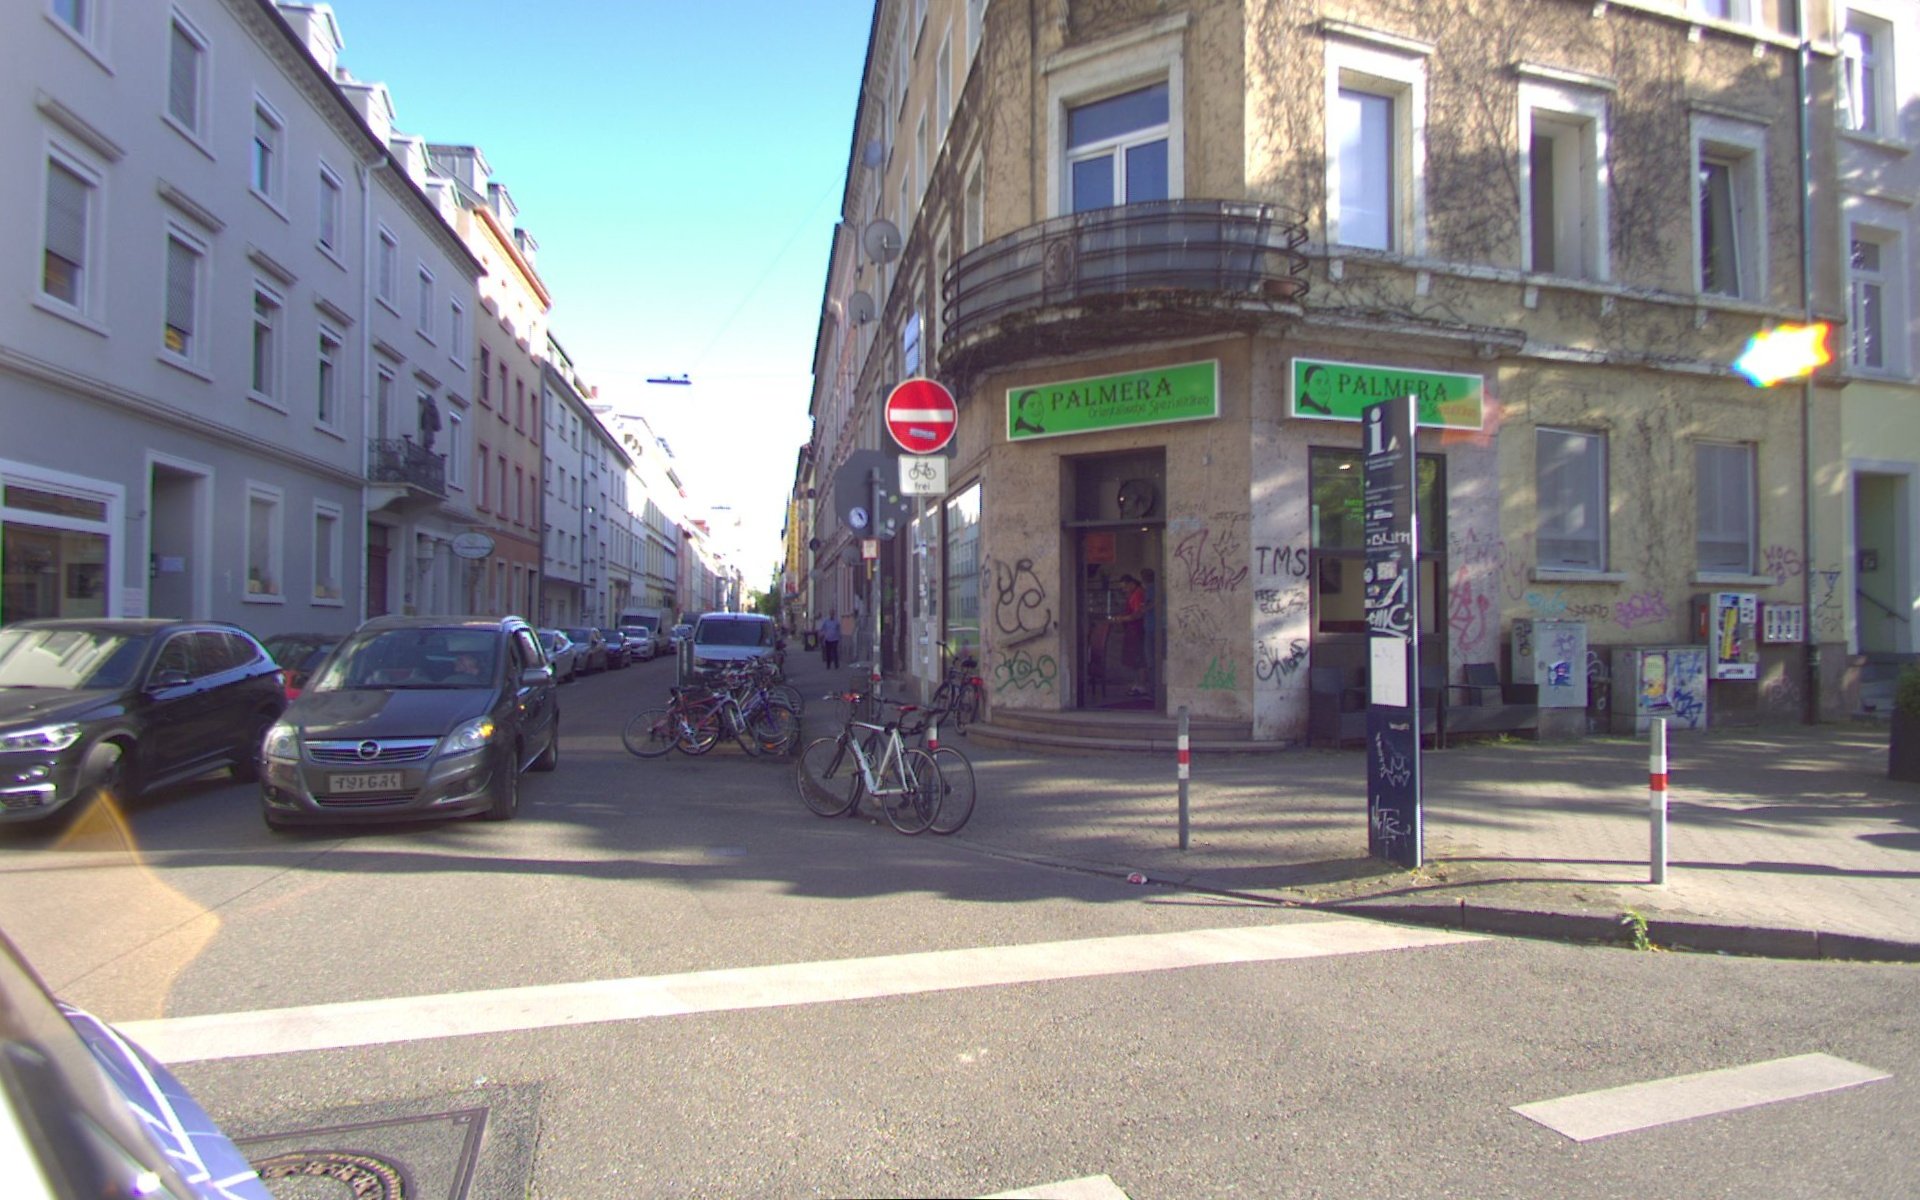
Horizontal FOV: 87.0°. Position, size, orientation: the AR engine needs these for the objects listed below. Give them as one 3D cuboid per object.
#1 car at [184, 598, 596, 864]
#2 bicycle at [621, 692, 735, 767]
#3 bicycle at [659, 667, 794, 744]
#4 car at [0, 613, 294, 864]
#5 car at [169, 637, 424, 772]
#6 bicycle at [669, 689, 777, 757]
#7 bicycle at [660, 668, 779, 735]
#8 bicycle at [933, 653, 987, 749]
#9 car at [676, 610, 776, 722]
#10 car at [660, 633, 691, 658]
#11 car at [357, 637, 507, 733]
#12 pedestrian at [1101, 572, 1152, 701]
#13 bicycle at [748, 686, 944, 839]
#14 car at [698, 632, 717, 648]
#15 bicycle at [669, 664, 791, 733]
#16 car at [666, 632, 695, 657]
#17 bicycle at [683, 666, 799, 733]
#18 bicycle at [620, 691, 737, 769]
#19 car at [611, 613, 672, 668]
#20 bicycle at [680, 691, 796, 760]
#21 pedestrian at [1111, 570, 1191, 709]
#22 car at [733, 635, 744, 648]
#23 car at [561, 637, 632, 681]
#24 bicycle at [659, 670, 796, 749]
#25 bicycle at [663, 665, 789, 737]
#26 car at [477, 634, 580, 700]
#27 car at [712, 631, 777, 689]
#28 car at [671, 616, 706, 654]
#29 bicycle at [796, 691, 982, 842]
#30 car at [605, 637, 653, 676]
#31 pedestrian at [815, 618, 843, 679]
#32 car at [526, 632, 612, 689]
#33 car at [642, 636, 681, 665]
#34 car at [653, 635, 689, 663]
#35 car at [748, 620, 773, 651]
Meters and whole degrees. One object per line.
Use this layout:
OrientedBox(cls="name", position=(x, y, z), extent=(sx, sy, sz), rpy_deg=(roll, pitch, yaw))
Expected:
OrientedBox(cls="car", position=(-4.685, 0.935, 9.295), extent=(1.770, 1.675, 5.196), rpy_deg=(-1, -2, -11))
OrientedBox(cls="bicycle", position=(-3.389, 1.544, 12.178), extent=(1.290, 0.824, 0.356), rpy_deg=(1, -2, -20))
OrientedBox(cls="bicycle", position=(-3.195, 1.424, 13.861), extent=(1.740, 0.969, 0.483), rpy_deg=(1, -2, -22))
OrientedBox(cls="car", position=(-7.599, 1.015, 8.691), extent=(1.737, 1.675, 4.207), rpy_deg=(-1, -2, -12))
OrientedBox(cls="car", position=(-8.855, 1.295, 13.912), extent=(1.623, 1.514, 3.964), rpy_deg=(-1, -2, -12))
OrientedBox(cls="bicycle", position=(-3.050, 1.579, 13.038), extent=(1.290, 0.824, 0.383), rpy_deg=(3, -3, -20))
OrientedBox(cls="bicycle", position=(-3.632, 1.525, 15.361), extent=(1.741, 0.969, 0.406), rpy_deg=(0, -2, -11))
OrientedBox(cls="bicycle", position=(-0.015, 1.245, 12.909), extent=(0.392, 1.100, 1.595), rpy_deg=(0, -1, -11))
OrientedBox(cls="car", position=(-4.606, 1.267, 20.387), extent=(1.657, 1.924, 4.529), rpy_deg=(3, -2, -10))
OrientedBox(cls="car", position=(-18.478, 2.910, 65.833), extent=(1.657, 1.532, 3.868), rpy_deg=(-1, -2, -11))
OrientedBox(cls="car", position=(-10.052, 1.554, 19.557), extent=(1.614, 1.599, 3.797), rpy_deg=(-1, -2, -12))
OrientedBox(cls="pedestrian", position=(2.325, 0.508, 14.100), extent=(0.641, 1.754, 0.692), rpy_deg=(-1, -2, 14))
OrientedBox(cls="bicycle", position=(-0.925, 1.218, 7.892), extent=(1.686, 1.054, 0.452), rpy_deg=(-5, -5, 39))
OrientedBox(cls="car", position=(-25.942, 4.085, 103.959), extent=(1.657, 1.610, 3.868), rpy_deg=(-1, -2, -11))
OrientedBox(cls="bicycle", position=(-3.394, 1.448, 15.008), extent=(1.741, 0.969, 0.423), rpy_deg=(0, -2, -11))
OrientedBox(cls="car", position=(-19.568, 3.100, 71.015), extent=(1.657, 1.648, 3.868), rpy_deg=(-1, -2, -11))
OrientedBox(cls="bicycle", position=(-3.420, 1.541, 15.858), extent=(1.741, 0.996, 0.464), rpy_deg=(0, -2, -11))
OrientedBox(cls="bicycle", position=(-3.283, 1.503, 11.816), extent=(1.290, 0.824, 0.373), rpy_deg=(1, -2, -20))
OrientedBox(cls="car", position=(-15.962, 2.006, 51.016), extent=(2.019, 2.532, 6.034), rpy_deg=(-1, -2, -9))
OrientedBox(cls="bicycle", position=(-2.798, 1.587, 12.786), extent=(1.367, 0.824, 0.363), rpy_deg=(3, -3, -20))
OrientedBox(cls="pedestrian", position=(2.486, 0.518, 13.232), extent=(0.744, 1.754, 0.751), rpy_deg=(0, -2, -15))
OrientedBox(cls="car", position=(-36.025, 6.721, 164.838), extent=(1.657, 2.106, 4.168), rpy_deg=(-1, -2, -11))
OrientedBox(cls="car", position=(-12.968, 2.059, 36.349), extent=(1.744, 1.405, 4.505), rpy_deg=(-1, -2, -12))
OrientedBox(cls="bicycle", position=(-3.093, 1.438, 13.480), extent=(1.740, 0.969, 0.429), rpy_deg=(0, -2, -18))
OrientedBox(cls="bicycle", position=(-3.349, 1.440, 14.574), extent=(1.741, 0.969, 0.444), rpy_deg=(0, -2, -11))
OrientedBox(cls="car", position=(-11.214, 1.692, 26.562), extent=(1.657, 1.522, 4.199), rpy_deg=(-1, -2, -12))
OrientedBox(cls="car", position=(-6.189, 1.672, 29.068), extent=(1.657, 1.485, 4.213), rpy_deg=(2, -2, -12))
OrientedBox(cls="car", position=(-20.639, 2.675, 77.130), extent=(2.018, 2.698, 6.198), rpy_deg=(-1, -2, -11))
OrientedBox(cls="bicycle", position=(-0.610, 1.302, 8.236), extent=(1.662, 1.054, 0.445), rpy_deg=(-2, -3, 39))
OrientedBox(cls="car", position=(-14.473, 2.447, 44.427), extent=(1.656, 1.571, 3.870), rpy_deg=(-1, -2, -14))
OrientedBox(cls="pedestrian", position=(-4.075, 1.506, 31.447), extent=(0.778, 1.845, 0.596), rpy_deg=(-1, -2, -10))
OrientedBox(cls="car", position=(-12.237, 1.848, 31.898), extent=(1.658, 1.609, 4.197), rpy_deg=(-1, -2, -9))
OrientedBox(cls="car", position=(-16.480, 2.770, 56.018), extent=(1.657, 1.453, 3.868), rpy_deg=(-1, -2, -11))
OrientedBox(cls="car", position=(-17.330, 2.924, 60.779), extent=(1.657, 1.577, 3.868), rpy_deg=(-1, -2, -10))
OrientedBox(cls="car", position=(-17.421, 3.092, 88.386), extent=(2.061, 2.611, 5.856), rpy_deg=(0, -2, -12))
